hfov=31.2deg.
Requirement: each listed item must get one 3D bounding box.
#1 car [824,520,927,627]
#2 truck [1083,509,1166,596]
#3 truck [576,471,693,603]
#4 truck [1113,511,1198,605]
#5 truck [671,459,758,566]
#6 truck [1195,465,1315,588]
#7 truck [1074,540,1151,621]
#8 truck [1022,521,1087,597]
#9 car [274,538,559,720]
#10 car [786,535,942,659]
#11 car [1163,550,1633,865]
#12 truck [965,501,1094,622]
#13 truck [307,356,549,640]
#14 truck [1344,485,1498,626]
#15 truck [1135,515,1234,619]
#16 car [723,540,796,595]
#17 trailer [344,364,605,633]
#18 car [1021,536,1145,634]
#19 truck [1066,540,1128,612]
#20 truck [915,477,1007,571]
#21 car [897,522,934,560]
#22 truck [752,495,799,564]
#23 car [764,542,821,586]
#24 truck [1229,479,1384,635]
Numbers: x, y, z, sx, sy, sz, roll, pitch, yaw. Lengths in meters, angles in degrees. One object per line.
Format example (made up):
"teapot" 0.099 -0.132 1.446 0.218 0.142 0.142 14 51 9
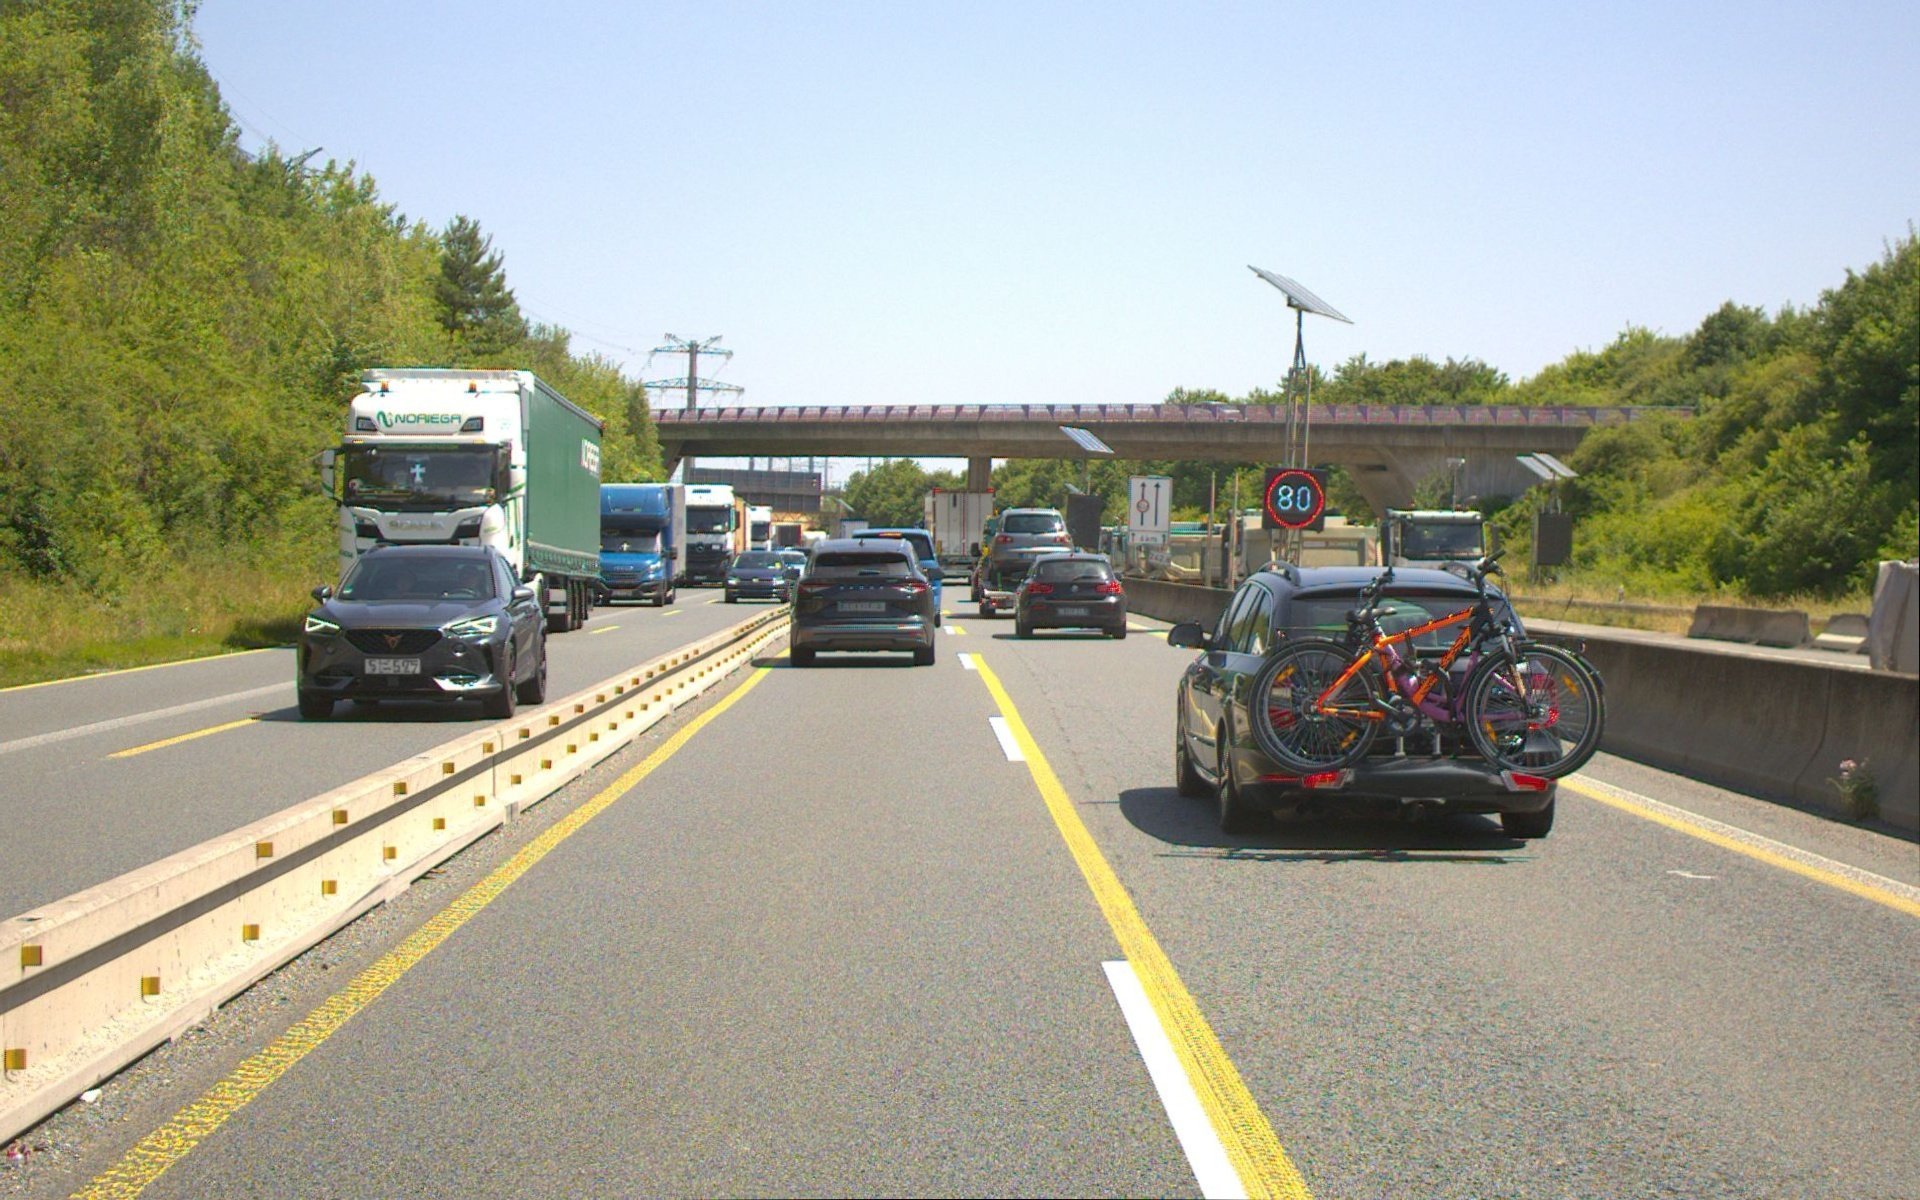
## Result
"car" -1.609 -0.524 66.564 1.899 1.962 4.276 1 1 0
"truck" 6.903 -2.047 145.825 2.687 3.545 9.326 1 1 -2
"truck" -8.574 -1.693 91.243 2.405 3.318 7.500 1 1 0
"truck" 7.590 -1.670 134.501 2.687 3.545 9.407 1 1 0
"truck" -9.644 -3.412 135.799 2.649 3.978 9.651 2 1 0
"truck" 8.884 -2.208 104.383 2.538 3.545 9.603 1 1 -1
"truck" 6.866 -0.951 155.964 2.687 3.545 9.326 1 1 -2
"truck" 4.739 -2.108 174.244 2.687 3.748 9.326 1 1 -2
"car" -4.811 0.218 30.993 1.899 1.500 4.276 1 1 0
"car" -1.196 -0.064 44.424 1.899 1.500 4.276 1 1 0
"car" 2.244 0.493 18.953 1.899 1.485 4.948 1 1 -1
"truck" 1.500 -0.906 77.133 2.405 2.549 7.501 1 1 -2
"truck" -8.043 -1.521 52.680 2.894 4.104 6.021 0 1 -1
"truck" 11.993 -1.177 90.112 2.687 3.499 8.381 1 1 -1
"truck" 7.964 -1.208 123.136 2.687 3.545 9.603 1 1 -1
"car" -5.593 -0.916 96.249 1.761 1.485 4.402 1 1 0
"trailer" -8.182 -1.678 59.725 2.891 4.111 13.245 1 1 -1
"car" 2.035 -0.272 57.977 1.899 1.580 4.276 1 1 0
"truck" 7.460 -1.366 188.116 2.687 3.843 9.326 1 1 -2
"truck" -0.014 -3.215 146.121 3.292 3.832 10.111 1 1 -3
"car" -2.328 -3.077 180.761 1.899 1.962 4.276 1 1 0
"truck" -11.028 -4.214 206.273 2.409 3.978 10.353 1 1 -1
"car" -5.822 -1.262 119.933 1.841 1.485 4.511 -1 1 -1
"truck" 8.182 -1.051 82.203 2.533 3.499 9.097 1 1 -1
